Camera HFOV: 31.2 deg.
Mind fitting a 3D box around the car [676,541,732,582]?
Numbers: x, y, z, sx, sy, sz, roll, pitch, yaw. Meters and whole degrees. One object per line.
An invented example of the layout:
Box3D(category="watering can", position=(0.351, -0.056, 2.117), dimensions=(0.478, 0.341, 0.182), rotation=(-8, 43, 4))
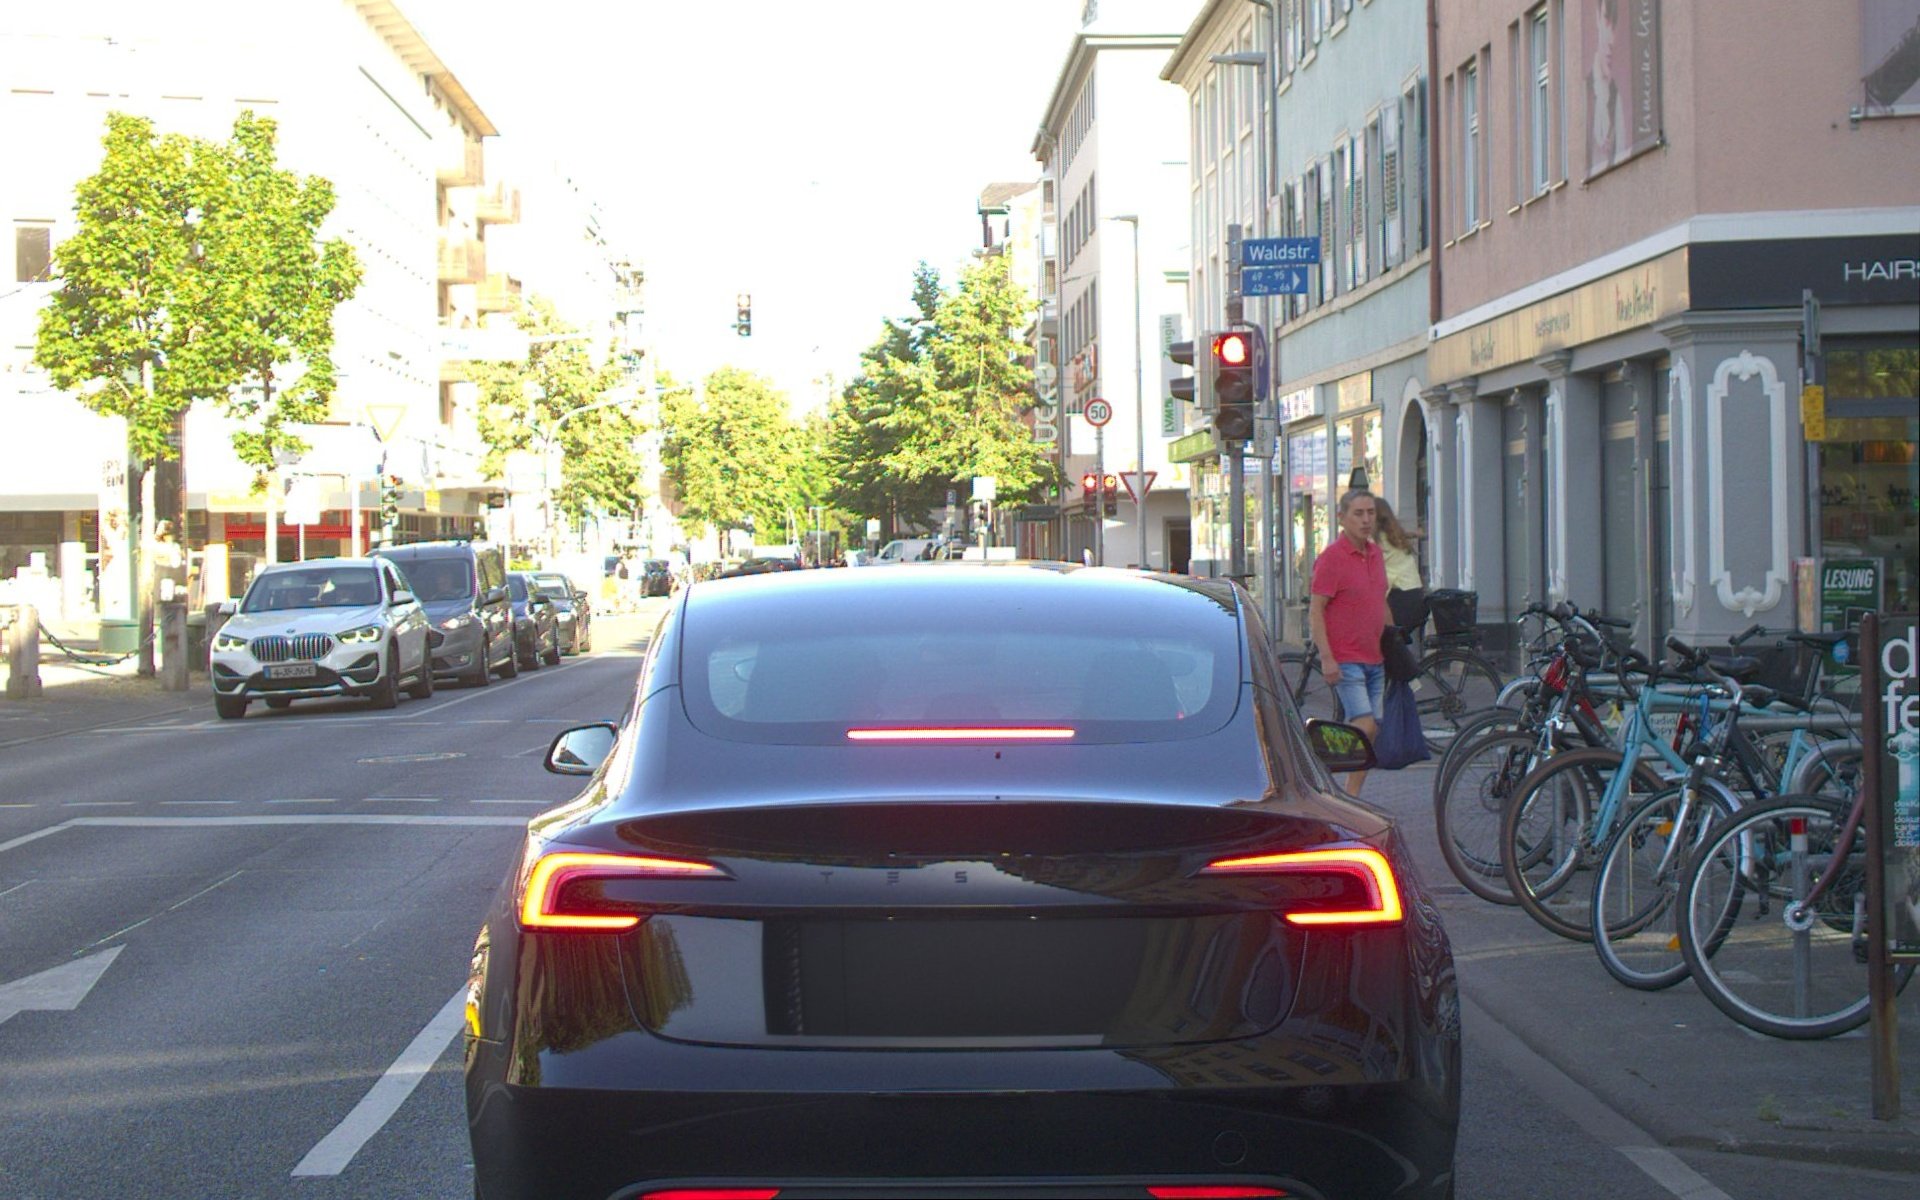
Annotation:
Box3D(category="car", position=(-12.395, -1.873, 166.475), dimensions=(2.414, 1.963, 4.678), rotation=(0, 1, -1))

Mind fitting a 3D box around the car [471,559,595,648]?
Box3D(category="car", position=(-7.102, 0.044, 57.482), dimensions=(1.693, 1.385, 3.916), rotation=(-2, 0, -2))

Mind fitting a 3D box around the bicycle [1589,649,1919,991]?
Box3D(category="bicycle", position=(3.005, 0.697, 11.146), dimensions=(1.813, 1.056, 0.653), rotation=(0, 1, 1))

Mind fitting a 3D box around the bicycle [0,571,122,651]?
Box3D(category="bicycle", position=(-14.691, 0.166, 54.589), dimensions=(2.542, 1.247, 0.943), rotation=(1, 0, -3))

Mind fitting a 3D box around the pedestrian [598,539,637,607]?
Box3D(category="pedestrian", position=(-9.425, -0.753, 94.590), dimensions=(0.734, 1.861, 0.789), rotation=(1, 0, 28))

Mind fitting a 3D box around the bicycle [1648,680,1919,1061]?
Box3D(category="bicycle", position=(3.031, 0.764, 10.075), dimensions=(1.882, 1.040, 0.653), rotation=(-1, 1, 1))

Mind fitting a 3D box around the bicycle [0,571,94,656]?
Box3D(category="bicycle", position=(-14.530, 0.192, 52.164), dimensions=(2.542, 1.247, 0.943), rotation=(1, 0, -3))

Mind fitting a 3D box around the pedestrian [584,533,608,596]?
Box3D(category="pedestrian", position=(-10.994, -1.074, 103.902), dimensions=(0.695, 1.861, 0.659), rotation=(1, 0, -5))

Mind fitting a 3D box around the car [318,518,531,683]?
Box3D(category="car", position=(-6.569, -0.032, 42.687), dimensions=(1.945, 1.940, 4.820), rotation=(0, 1, -1))

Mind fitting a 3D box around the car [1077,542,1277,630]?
Box3D(category="car", position=(4.712, -0.322, 74.700), dimensions=(3.992, 1.861, 1.698), rotation=(0, 1, -21))

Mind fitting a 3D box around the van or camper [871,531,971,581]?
Box3D(category="van or camper", position=(-1.901, -2.136, 167.573), dimensions=(4.850, 2.430, 1.851), rotation=(0, 1, -1))

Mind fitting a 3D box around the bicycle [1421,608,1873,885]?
Box3D(category="bicycle", position=(2.928, 0.617, 14.761), dimensions=(1.813, 1.148, 0.653), rotation=(0, 1, 1))

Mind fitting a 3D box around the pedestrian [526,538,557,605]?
Box3D(category="pedestrian", position=(-11.805, -0.810, 96.926), dimensions=(0.732, 1.861, 0.791), rotation=(1, 0, -17))

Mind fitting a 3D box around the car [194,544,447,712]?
Box3D(category="car", position=(-6.683, 0.258, 36.364), dimensions=(1.825, 1.559, 4.301), rotation=(-4, 1, -1))

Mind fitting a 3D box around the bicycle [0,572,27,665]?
Box3D(category="bicycle", position=(-14.483, 0.238, 47.570), dimensions=(2.875, 1.266, 0.943), rotation=(1, 0, -3))

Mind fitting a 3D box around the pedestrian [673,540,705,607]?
Box3D(category="pedestrian", position=(-7.593, -0.745, 96.341), dimensions=(0.774, 1.861, 1.009), rotation=(1, 0, -11))

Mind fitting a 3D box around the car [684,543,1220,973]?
Box3D(category="car", position=(-0.055, 0.528, 14.223), dimensions=(1.850, 1.476, 4.452), rotation=(1, 1, -1))

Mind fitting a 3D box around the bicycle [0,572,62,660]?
Box3D(category="bicycle", position=(-14.485, 0.220, 49.889), dimensions=(2.662, 1.255, 0.943), rotation=(1, 0, -3))

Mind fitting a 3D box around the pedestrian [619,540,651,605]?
Box3D(category="pedestrian", position=(-9.324, -0.792, 98.614), dimensions=(0.694, 1.861, 0.910), rotation=(1, 0, -20))

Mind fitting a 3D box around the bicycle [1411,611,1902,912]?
Box3D(category="bicycle", position=(2.736, 0.625, 13.626), dimensions=(1.813, 1.148, 0.653), rotation=(0, 1, 1))

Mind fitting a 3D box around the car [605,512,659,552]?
Box3D(category="car", position=(-17.125, -3.540, 179.665), dimensions=(2.275, 2.007, 4.717), rotation=(1, 1, 1))

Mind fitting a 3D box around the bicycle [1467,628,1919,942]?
Box3D(category="bicycle", position=(2.805, 0.661, 12.553), dimensions=(1.813, 1.098, 0.653), rotation=(0, 1, 1))

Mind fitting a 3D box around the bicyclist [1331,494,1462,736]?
Box3D(category="bicyclist", position=(2.990, 0.097, 23.570), dimensions=(0.826, 1.609, 0.579), rotation=(-2, 1, 7))

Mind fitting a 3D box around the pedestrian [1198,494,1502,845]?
Box3D(category="pedestrian", position=(1.990, 0.331, 17.541), dimensions=(1.112, 1.714, 1.059), rotation=(1, 1, 42))

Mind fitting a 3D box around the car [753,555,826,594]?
Box3D(category="car", position=(-8.017, -1.218, 161.029), dimensions=(2.035, 1.782, 4.007), rotation=(0, 1, -26))

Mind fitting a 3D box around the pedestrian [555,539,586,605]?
Box3D(category="pedestrian", position=(-11.034, -0.804, 97.442), dimensions=(0.732, 1.861, 0.791), rotation=(1, 0, -17))

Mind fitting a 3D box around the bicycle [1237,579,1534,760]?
Box3D(category="bicycle", position=(2.909, 0.472, 23.590), dimensions=(1.954, 1.154, 0.575), rotation=(-2, 0, 6))

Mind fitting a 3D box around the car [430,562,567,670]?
Box3D(category="car", position=(-6.650, 0.208, 49.821), dimensions=(1.461, 1.425, 3.606), rotation=(-4, 1, -1))

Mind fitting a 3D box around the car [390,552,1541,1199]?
Box3D(category="car", position=(-0.018, 0.633, 7.798), dimensions=(1.850, 1.442, 4.452), rotation=(1, 1, -1))
